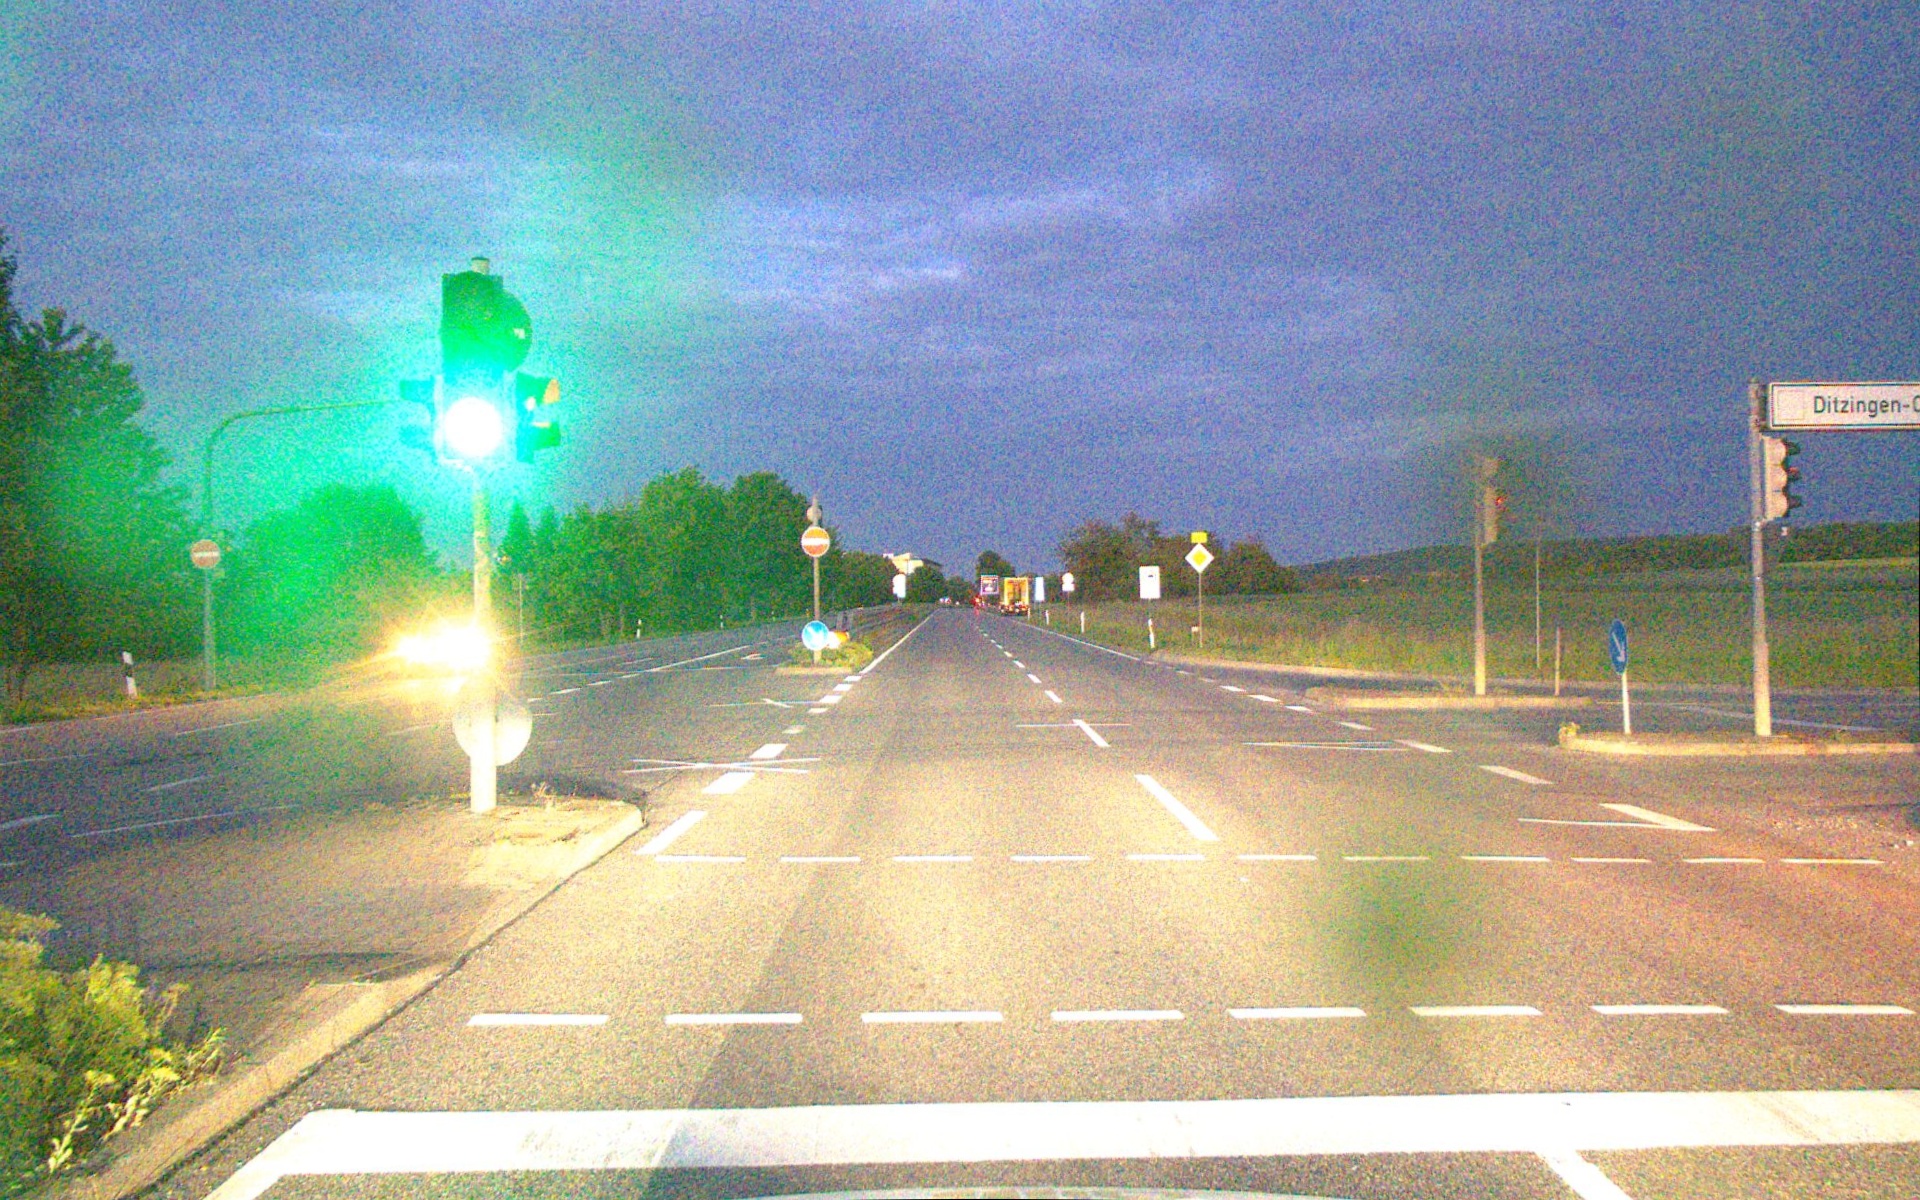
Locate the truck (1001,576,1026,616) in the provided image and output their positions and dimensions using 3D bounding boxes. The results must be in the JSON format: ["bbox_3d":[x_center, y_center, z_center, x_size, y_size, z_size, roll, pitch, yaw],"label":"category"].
[{"bbox_3d":[5.614,-0.416,174.949,2.526,4.142,6.130,1,0,0],"label":"truck"}]

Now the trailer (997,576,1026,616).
[{"bbox_3d":[5.580,-0.388,181.109,2.568,4.176,12.935,-1,0,0],"label":"trailer"}]

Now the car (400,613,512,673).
[{"bbox_3d":[-12.593,1.051,41.545,1.618,1.408,4.029,1,-1,-1],"label":"car"}]
